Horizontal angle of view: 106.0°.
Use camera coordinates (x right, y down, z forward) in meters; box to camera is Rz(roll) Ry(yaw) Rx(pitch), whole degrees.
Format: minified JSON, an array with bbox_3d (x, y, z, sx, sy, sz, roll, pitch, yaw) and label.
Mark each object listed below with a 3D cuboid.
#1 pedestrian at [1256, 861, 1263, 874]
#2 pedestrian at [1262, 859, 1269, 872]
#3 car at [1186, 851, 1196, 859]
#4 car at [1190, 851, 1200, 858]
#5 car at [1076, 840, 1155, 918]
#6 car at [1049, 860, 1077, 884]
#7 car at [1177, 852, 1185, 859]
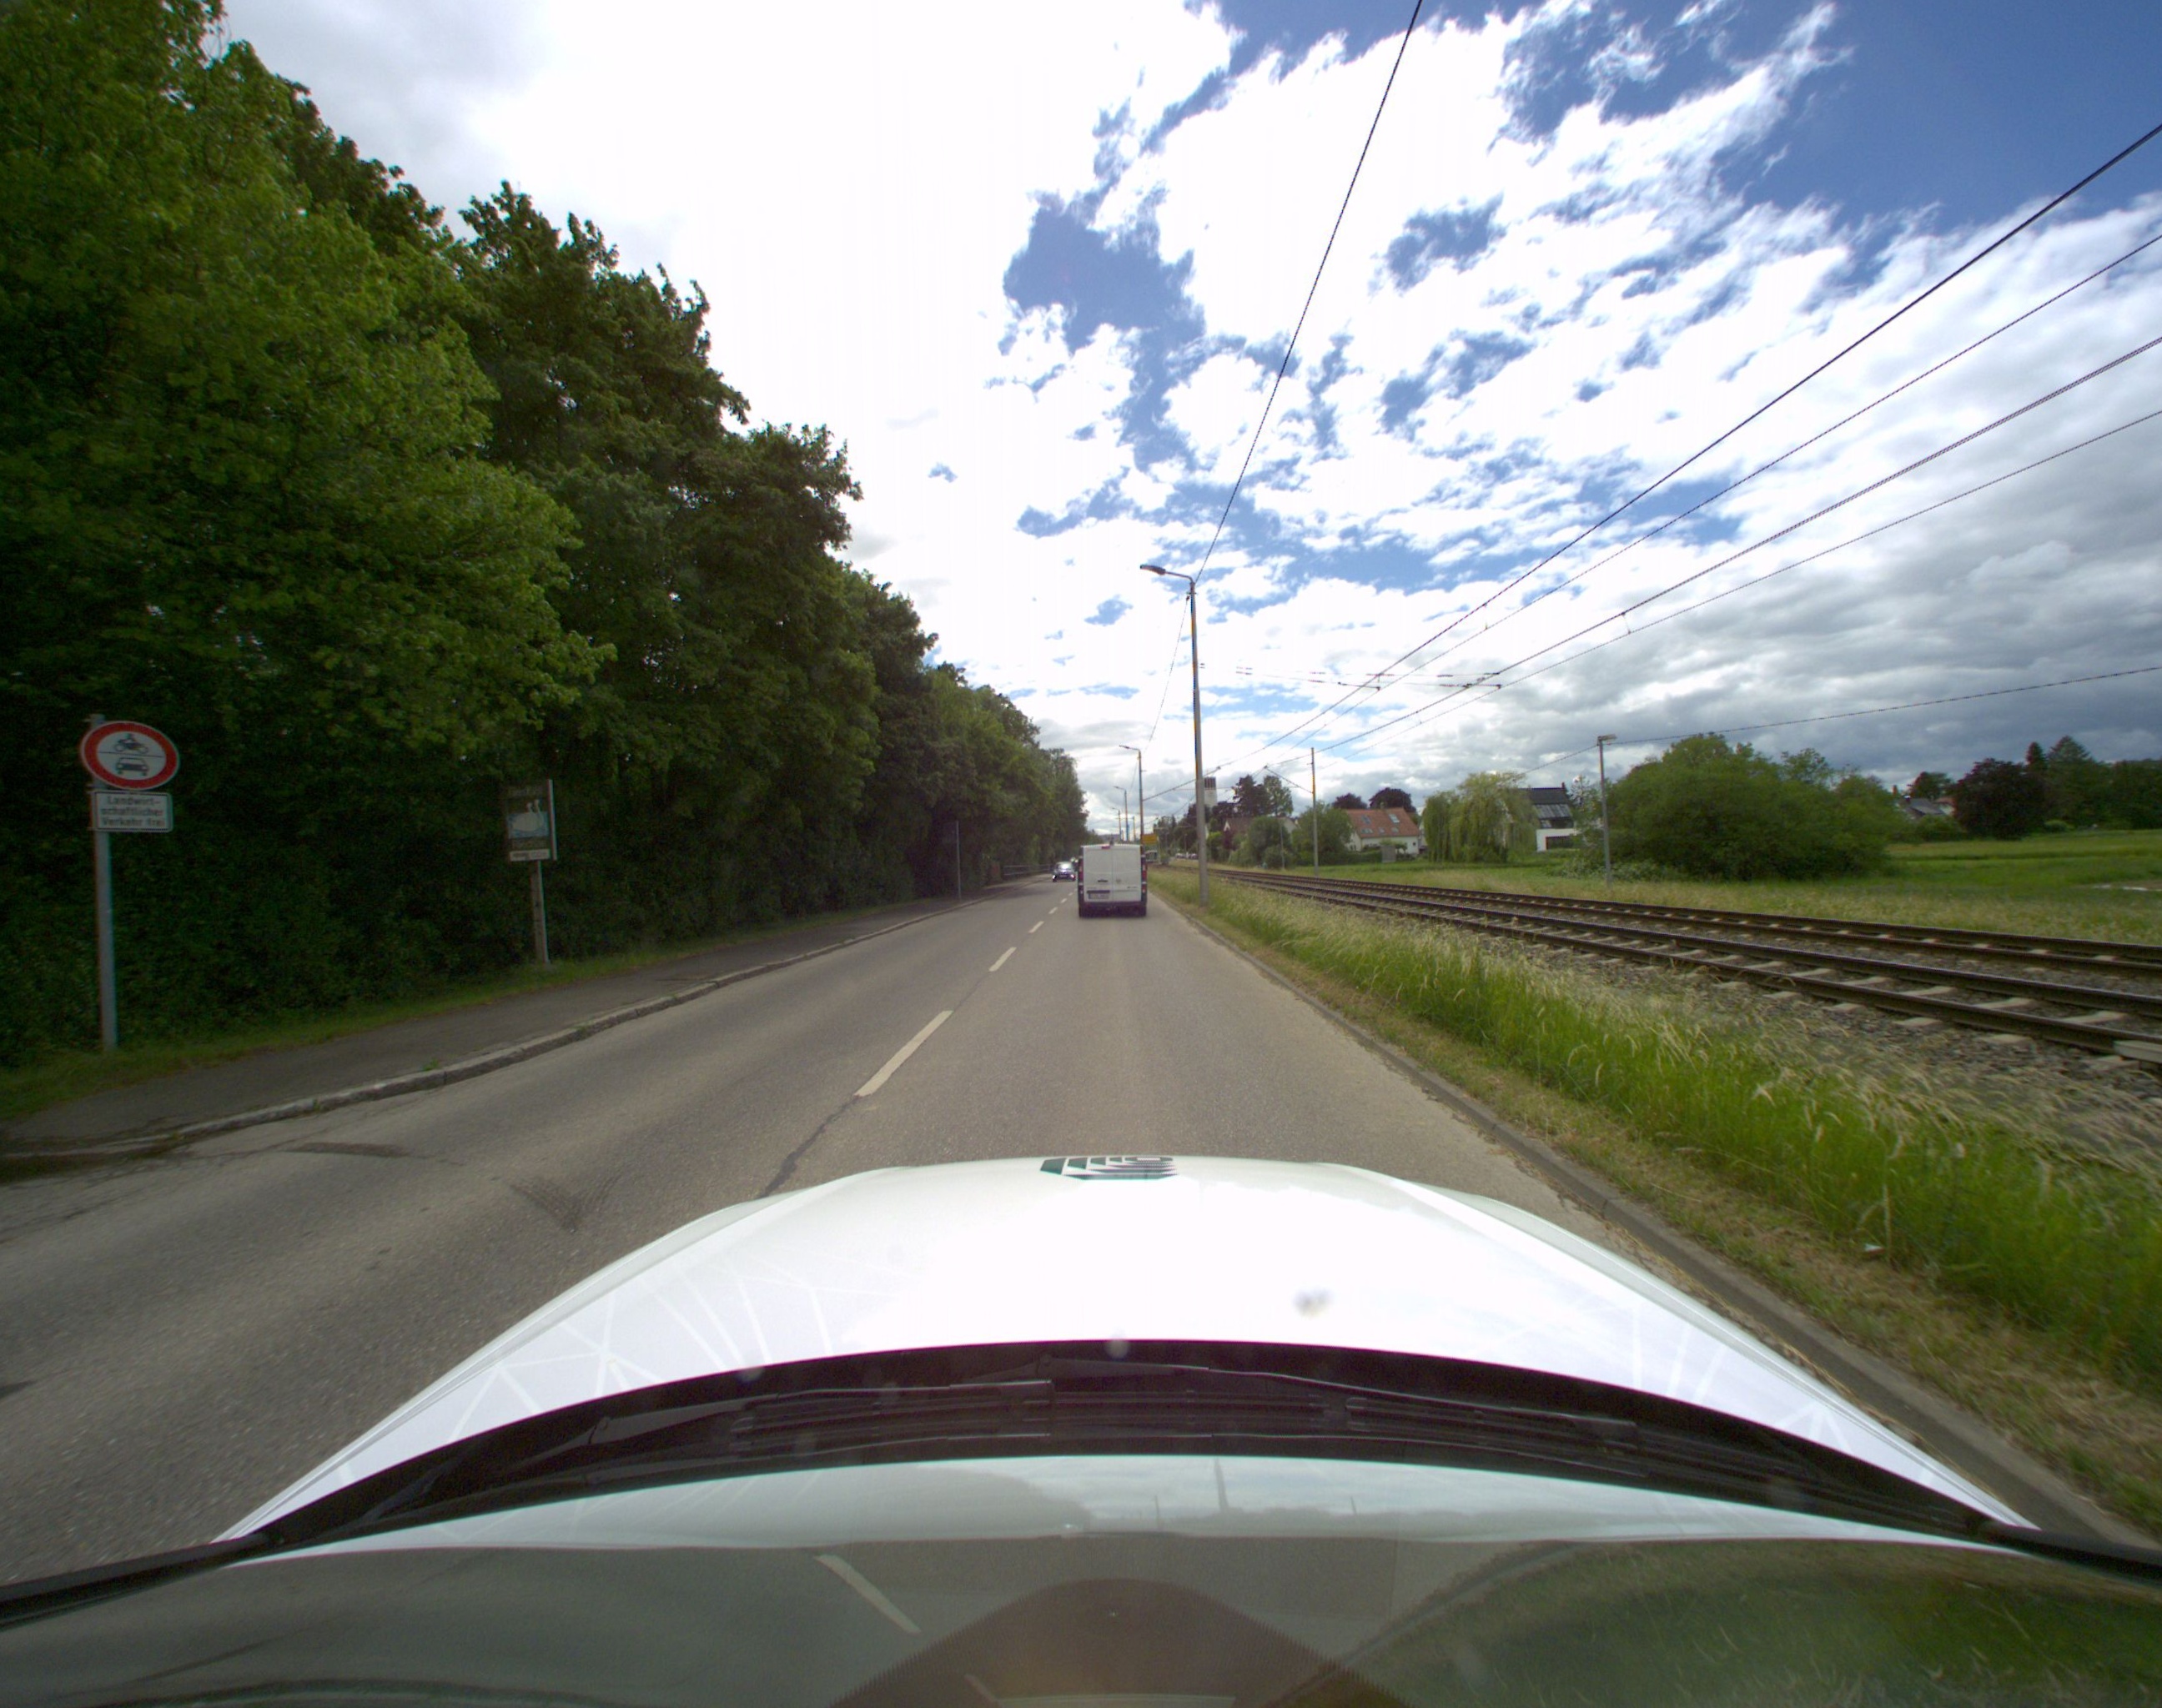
[{"bbox_3d":[21.040,1.587,96.109,0.654,1.506,0.657,-2,-1,1],"label":"pedestrian"},{"bbox_3d":[21.728,1.320,95.903,0.524,1.506,0.657,-2,-1,1],"label":"pedestrian"},{"bbox_3d":[29.171,0.304,215.813,1.987,1.816,3.999,0,-2,1],"label":"car"},{"bbox_3d":[29.330,0.204,209.770,1.987,1.717,3.999,0,-2,1],"label":"car"},{"bbox_3d":[0.915,0.640,23.068,1.987,1.957,4.000,-2,0,0],"label":"car"},{"bbox_3d":[-1.339,1.349,62.171,1.987,1.717,4.123,-2,-1,0],"label":"car"},{"bbox_3d":[29.835,0.419,242.324,1.987,1.816,3.999,0,-2,1],"label":"car"}]
